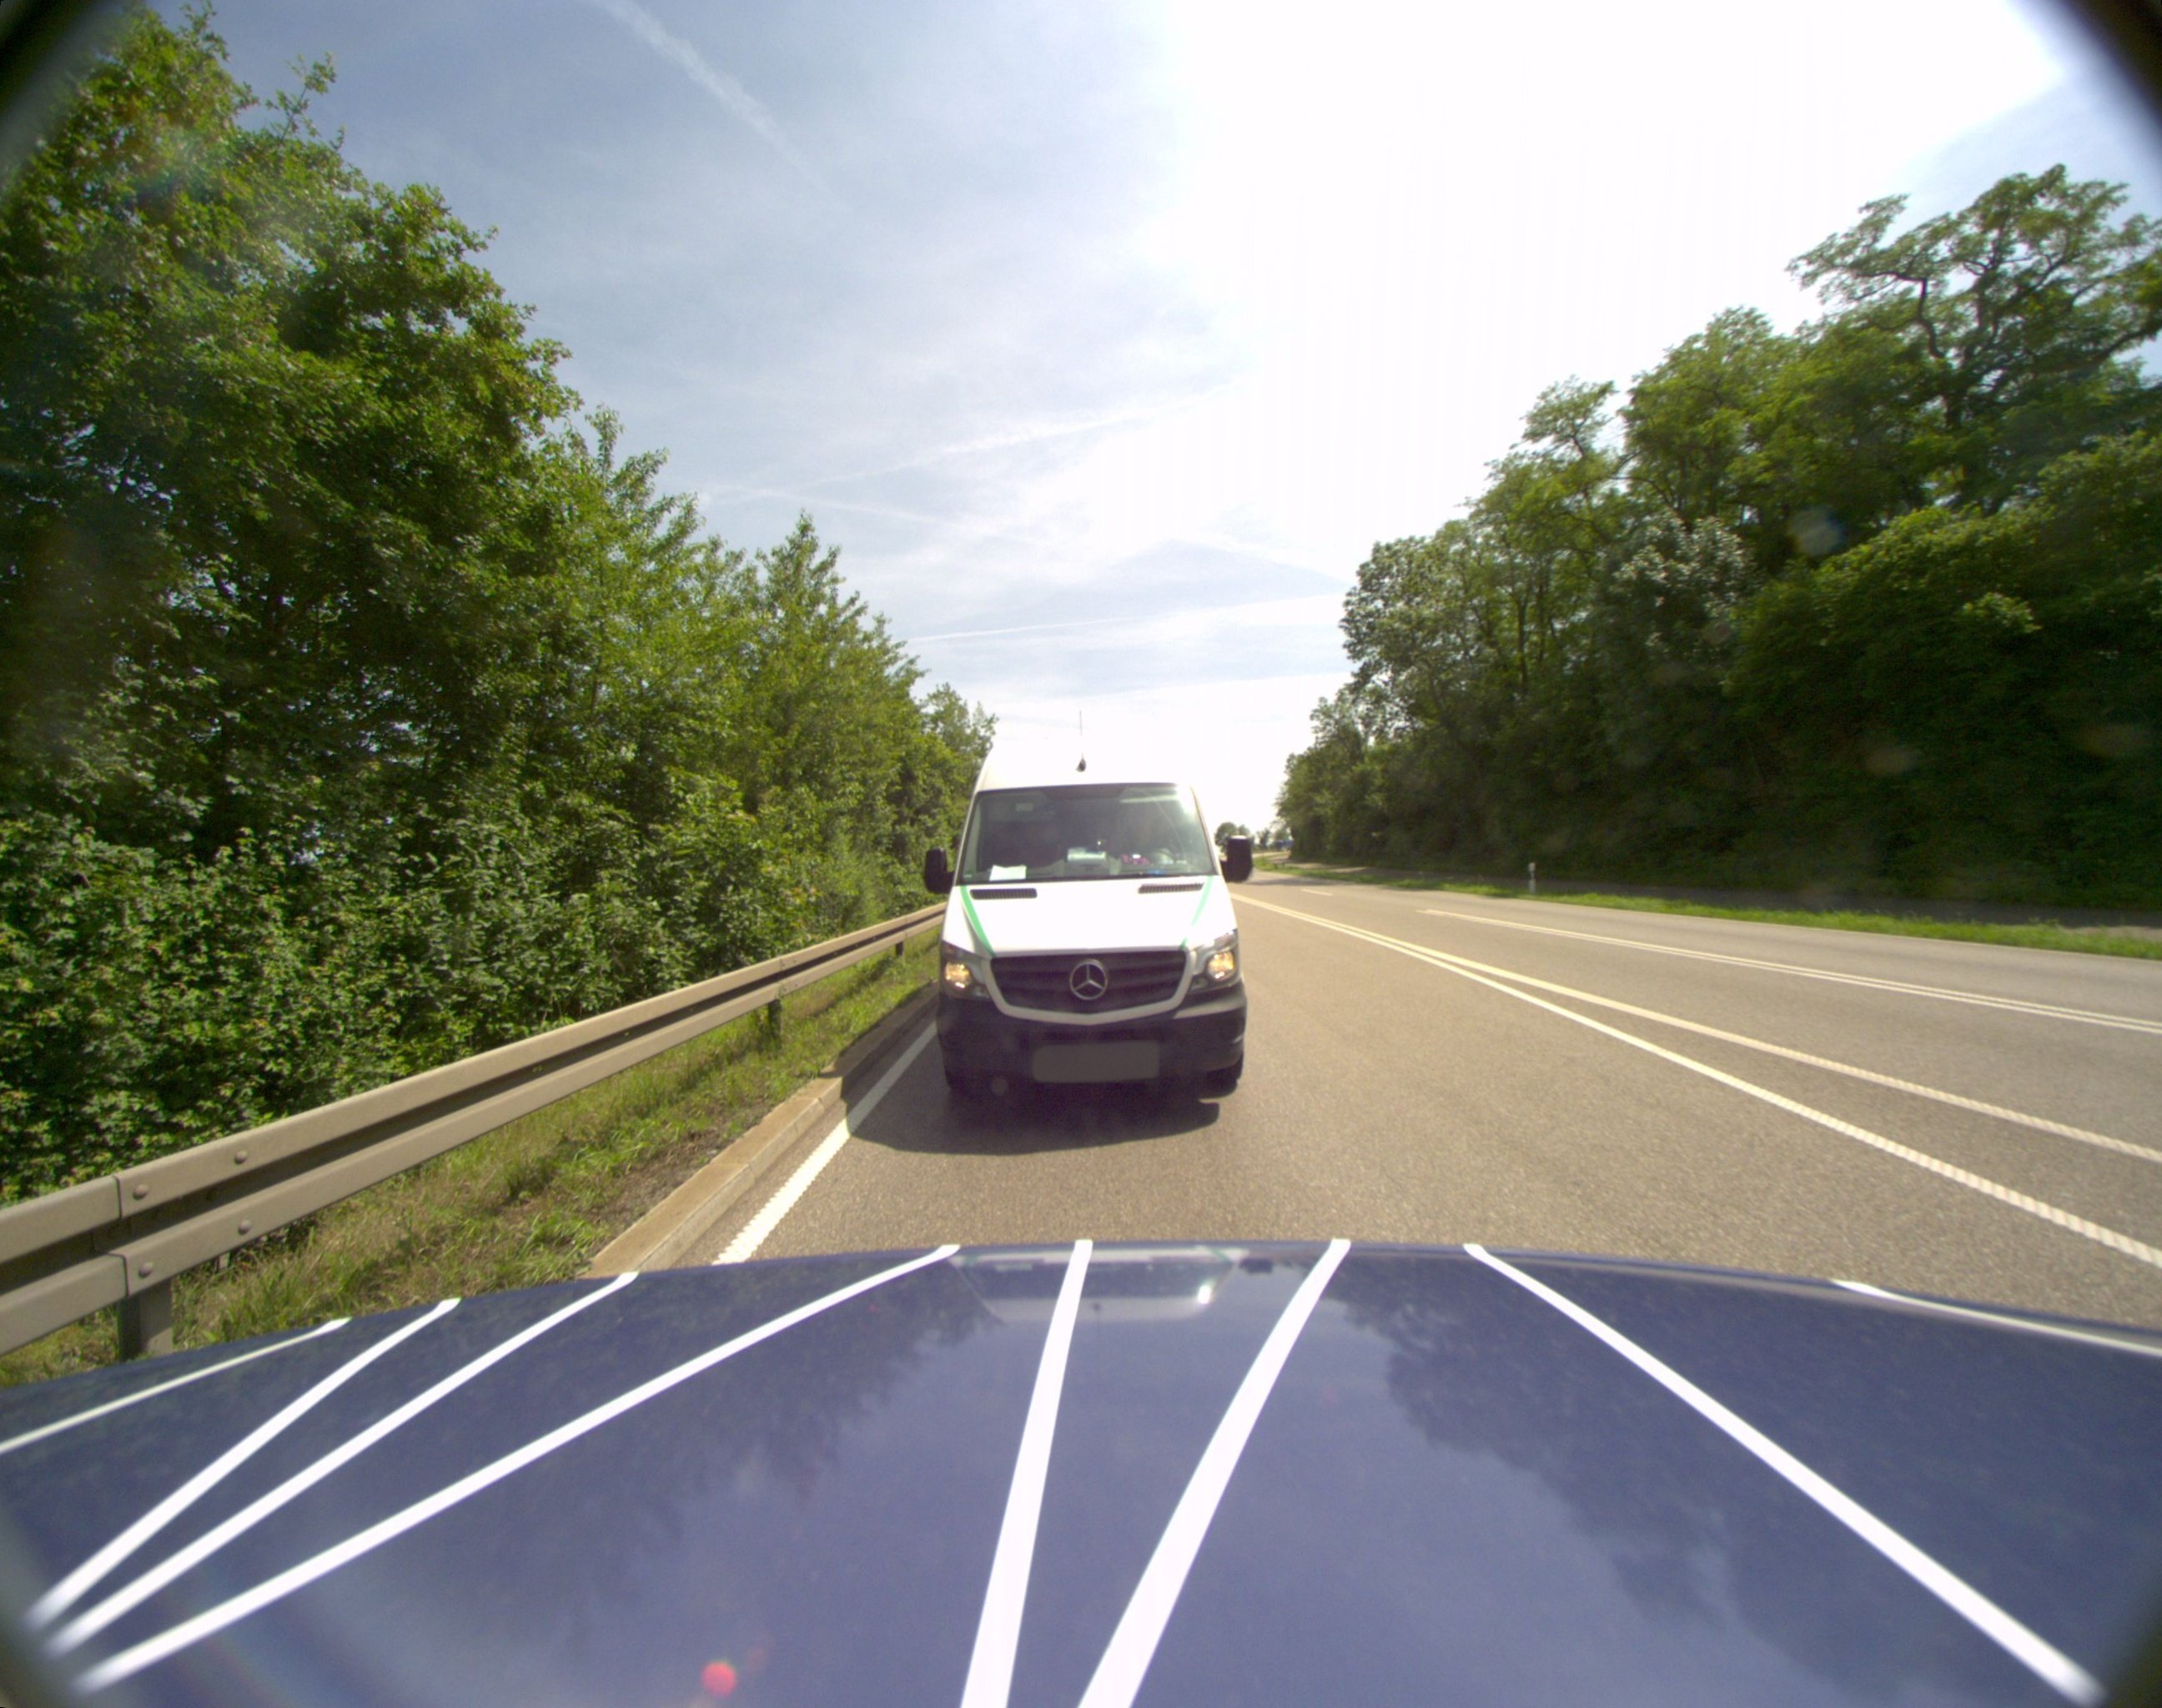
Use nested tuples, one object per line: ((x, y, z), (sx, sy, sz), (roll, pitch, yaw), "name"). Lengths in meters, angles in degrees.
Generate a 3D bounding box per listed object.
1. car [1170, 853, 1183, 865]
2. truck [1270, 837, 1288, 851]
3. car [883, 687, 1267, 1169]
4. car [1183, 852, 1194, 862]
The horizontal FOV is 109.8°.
((16.766, 0.892, 133.471), (1.850, 2.002, 3.875), (-2, 1, 11), "car")
((67.307, -3.315, 257.691), (4.392, 4.434, 14.732), (-2, 0, 20), "truck")
((0.047, 0.400, 6.665), (1.958, 2.502, 5.267), (-2, 0, 2), "car")
((21.249, 0.499, 150.255), (1.764, 1.849, 3.813), (-2, 1, 14), "car")
